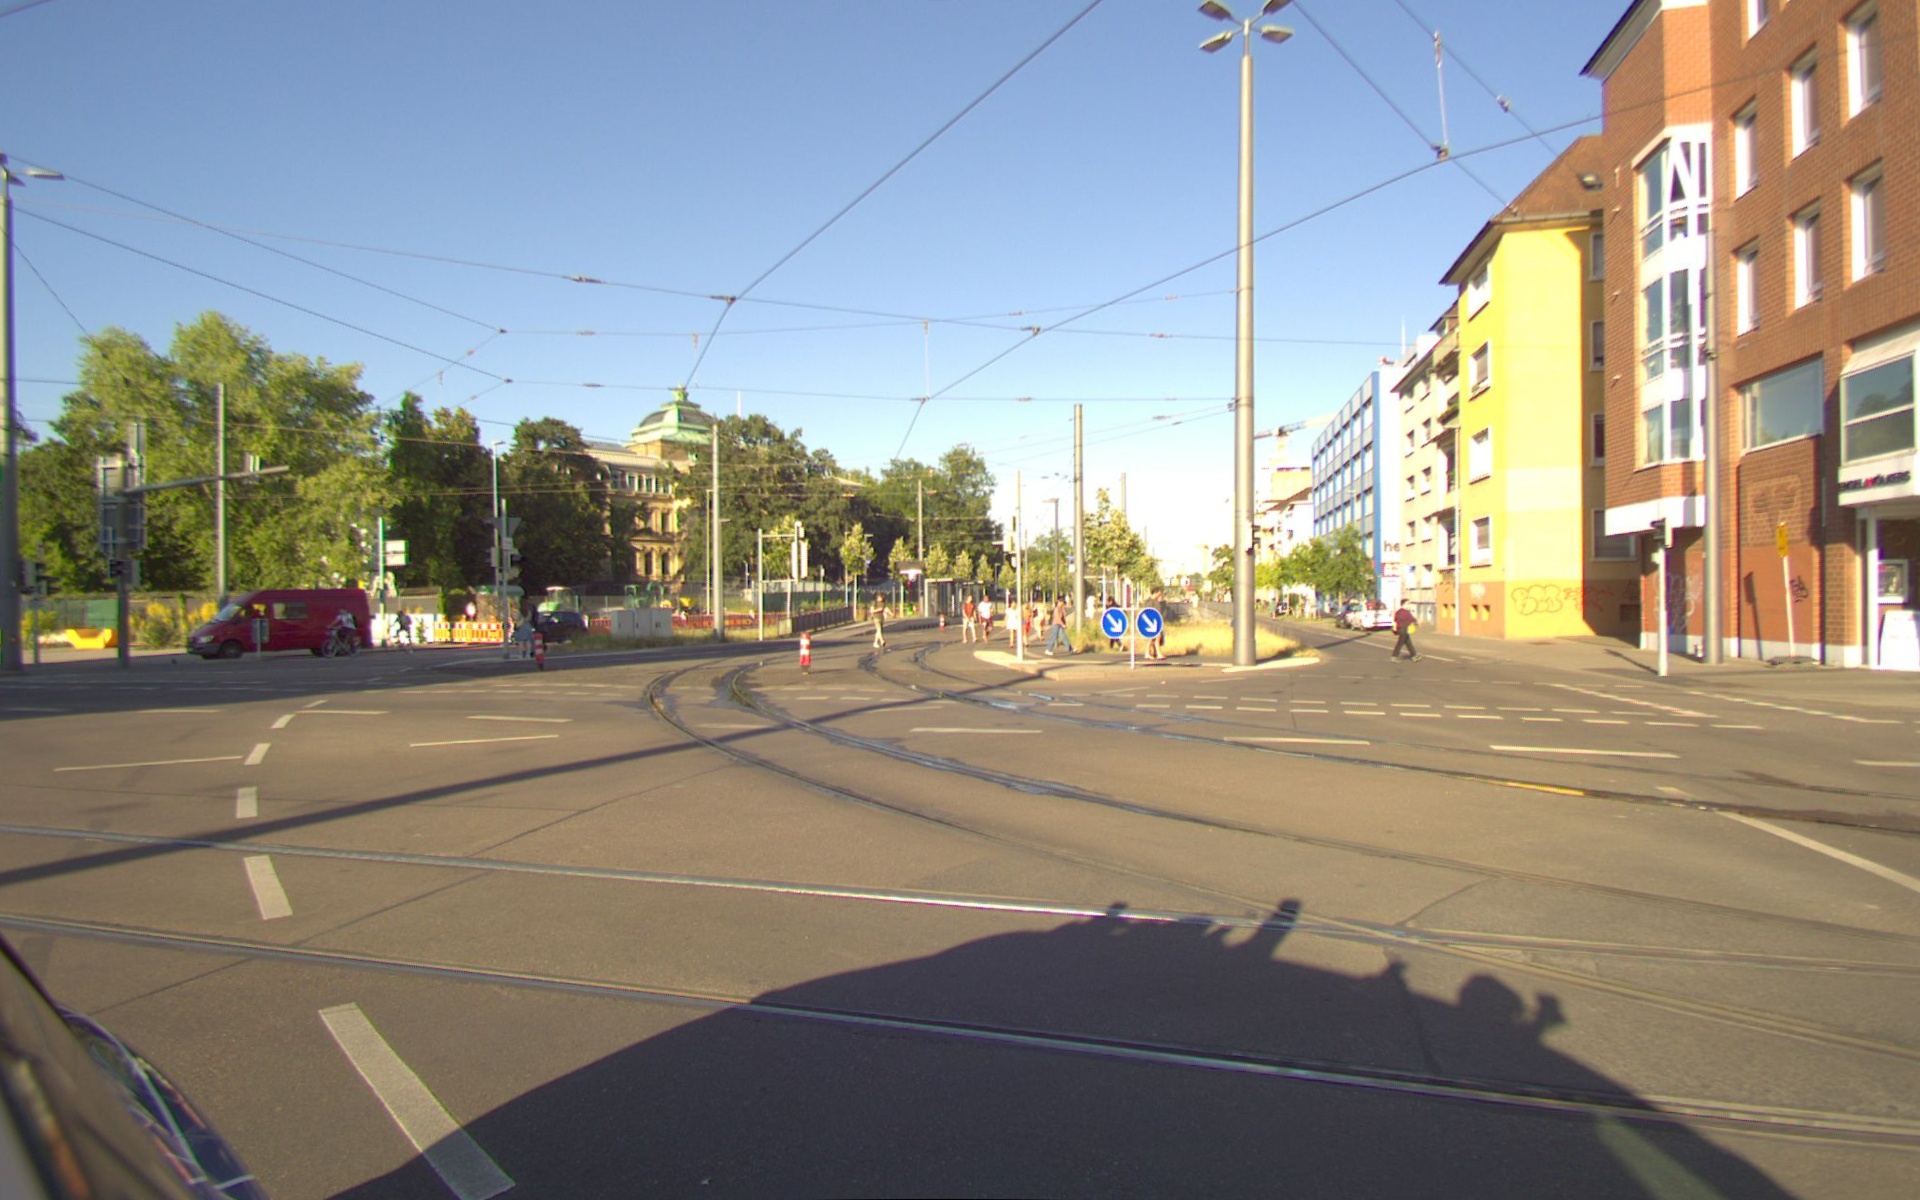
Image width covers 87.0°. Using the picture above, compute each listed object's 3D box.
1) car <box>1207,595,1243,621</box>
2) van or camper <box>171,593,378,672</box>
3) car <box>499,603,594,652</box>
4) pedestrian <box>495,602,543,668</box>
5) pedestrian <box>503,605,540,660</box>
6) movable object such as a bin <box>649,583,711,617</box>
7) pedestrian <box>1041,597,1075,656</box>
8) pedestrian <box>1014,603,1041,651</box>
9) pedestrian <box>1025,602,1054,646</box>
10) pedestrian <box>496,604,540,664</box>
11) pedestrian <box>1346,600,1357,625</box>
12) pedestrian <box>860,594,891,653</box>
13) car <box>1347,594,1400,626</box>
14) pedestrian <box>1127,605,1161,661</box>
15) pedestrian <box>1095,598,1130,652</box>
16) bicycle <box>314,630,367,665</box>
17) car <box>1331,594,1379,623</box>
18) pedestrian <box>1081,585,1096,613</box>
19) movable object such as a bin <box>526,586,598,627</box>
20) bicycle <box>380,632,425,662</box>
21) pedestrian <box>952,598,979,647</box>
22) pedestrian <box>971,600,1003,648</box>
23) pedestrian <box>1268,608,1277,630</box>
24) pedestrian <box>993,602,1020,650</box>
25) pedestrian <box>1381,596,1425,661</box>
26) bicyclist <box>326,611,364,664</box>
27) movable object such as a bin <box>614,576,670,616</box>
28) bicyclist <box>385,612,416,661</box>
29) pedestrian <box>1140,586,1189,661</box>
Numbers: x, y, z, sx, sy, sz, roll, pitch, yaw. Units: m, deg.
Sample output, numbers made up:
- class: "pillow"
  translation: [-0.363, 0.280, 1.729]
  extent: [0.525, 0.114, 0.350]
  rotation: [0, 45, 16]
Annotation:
- class: "car"
  translation: [16.564, 0.472, 63.419]
  extent: [1.867, 1.519, 3.929]
  rotation: [-3, 0, 11]
- class: "van or camper"
  translation: [-24.710, 1.107, 36.750]
  extent: [1.994, 2.548, 5.848]
  rotation: [-3, 0, 33]
- class: "car"
  translation: [-19.102, 1.238, 46.908]
  extent: [1.982, 2.029, 3.980]
  rotation: [-3, 0, 16]
- class: "pedestrian"
  translation: [-12.857, 1.017, 29.505]
  extent: [0.786, 1.814, 0.890]
  rotation: [-3, 2, 33]
- class: "pedestrian"
  translation: [-13.696, 1.015, 31.604]
  extent: [0.779, 1.653, 0.617]
  rotation: [-3, 0, 10]
- class: "movable object such as a bin"
  translation: [-24.171, -0.045, 87.605]
  extent: [1.986, 2.837, 5.824]
  rotation: [-3, 0, 22]
- class: "pedestrian"
  translation: [2.633, 0.703, 27.127]
  extent: [0.616, 1.547, 0.782]
  rotation: [-3, 0, 24]
- class: "pedestrian"
  translation: [2.101, 0.846, 31.576]
  extent: [0.627, 1.442, 0.526]
  rotation: [-3, 0, -18]
- class: "pedestrian"
  translation: [2.991, 0.904, 37.973]
  extent: [0.683, 1.596, 0.831]
  rotation: [-3, 0, 39]
- class: "pedestrian"
  translation: [-12.707, 0.972, 29.102]
  extent: [0.887, 1.653, 0.788]
  rotation: [-2, 0, -45]
- class: "pedestrian"
  translation: [28.421, 0.878, 73.463]
  extent: [0.641, 1.759, 0.595]
  rotation: [-3, 0, 19]
- class: "pedestrian"
  translation: [-2.759, 0.767, 33.136]
  extent: [0.781, 1.878, 0.616]
  rotation: [-3, 0, 15]
- class: "car"
  translation: [21.730, 0.496, 53.337]
  extent: [1.867, 1.519, 3.661]
  rotation: [-3, 0, 11]
- class: "pedestrian"
  translation: [4.667, 0.826, 25.672]
  extent: [0.606, 1.370, 0.590]
  rotation: [-2, 2, 33]
- class: "pedestrian"
  translation: [4.635, 0.761, 30.779]
  extent: [0.828, 1.596, 0.685]
  rotation: [-3, 0, -9]
- class: "bicycle"
  translation: [-21.544, 1.652, 35.248]
  extent: [0.536, 1.109, 1.805]
  rotation: [-3, 0, 7]
- class: "car"
  translation: [22.632, 0.457, 58.101]
  extent: [1.867, 1.519, 3.661]
  rotation: [-3, 0, 11]
- class: "pedestrian"
  translation: [7.774, -0.071, 61.121]
  extent: [0.781, 1.685, 0.616]
  rotation: [-3, 0, 15]
- class: "movable object such as a bin"
  translation: [-27.684, 0.423, 70.666]
  extent: [1.982, 2.704, 4.987]
  rotation: [-3, 0, 16]
- class: "bicycle"
  translation: [-20.752, 1.741, 37.699]
  extent: [0.536, 1.008, 1.690]
  rotation: [-3, 0, 7]
- class: "pedestrian"
  translation: [0.202, 0.807, 36.335]
  extent: [0.781, 1.711, 0.616]
  rotation: [-3, 0, 15]
- class: "pedestrian"
  translation: [0.905, 0.820, 33.937]
  extent: [0.774, 1.560, 0.621]
  rotation: [-1, -4, -30]
- class: "pedestrian"
  translation: [26.242, 1.610, 85.053]
  extent: [0.641, 1.759, 0.595]
  rotation: [-3, 0, 21]
- class: "pedestrian"
  translation: [1.444, 0.804, 31.472]
  extent: [0.627, 1.467, 0.526]
  rotation: [-3, 0, -19]
- class: "pedestrian"
  translation: [11.226, 0.715, 25.654]
  extent: [0.598, 1.600, 0.791]
  rotation: [-3, 0, -14]
- class: "bicyclist"
  translation: [-21.550, 1.299, 35.452]
  extent: [0.536, 1.781, 1.058]
  rotation: [-3, 0, 7]
- class: "movable object such as a bin"
  translation: [-27.793, -0.356, 88.610]
  extent: [1.982, 3.354, 5.347]
  rotation: [-3, 0, 16]
- class: "bicyclist"
  translation: [-20.753, 1.356, 37.553]
  extent: [0.608, 1.759, 0.790]
  rotation: [-3, 0, 7]
- class: "pedestrian"
  translation: [4.993, 0.574, 24.733]
  extent: [0.897, 1.771, 0.768]
  rotation: [-3, 0, 32]
